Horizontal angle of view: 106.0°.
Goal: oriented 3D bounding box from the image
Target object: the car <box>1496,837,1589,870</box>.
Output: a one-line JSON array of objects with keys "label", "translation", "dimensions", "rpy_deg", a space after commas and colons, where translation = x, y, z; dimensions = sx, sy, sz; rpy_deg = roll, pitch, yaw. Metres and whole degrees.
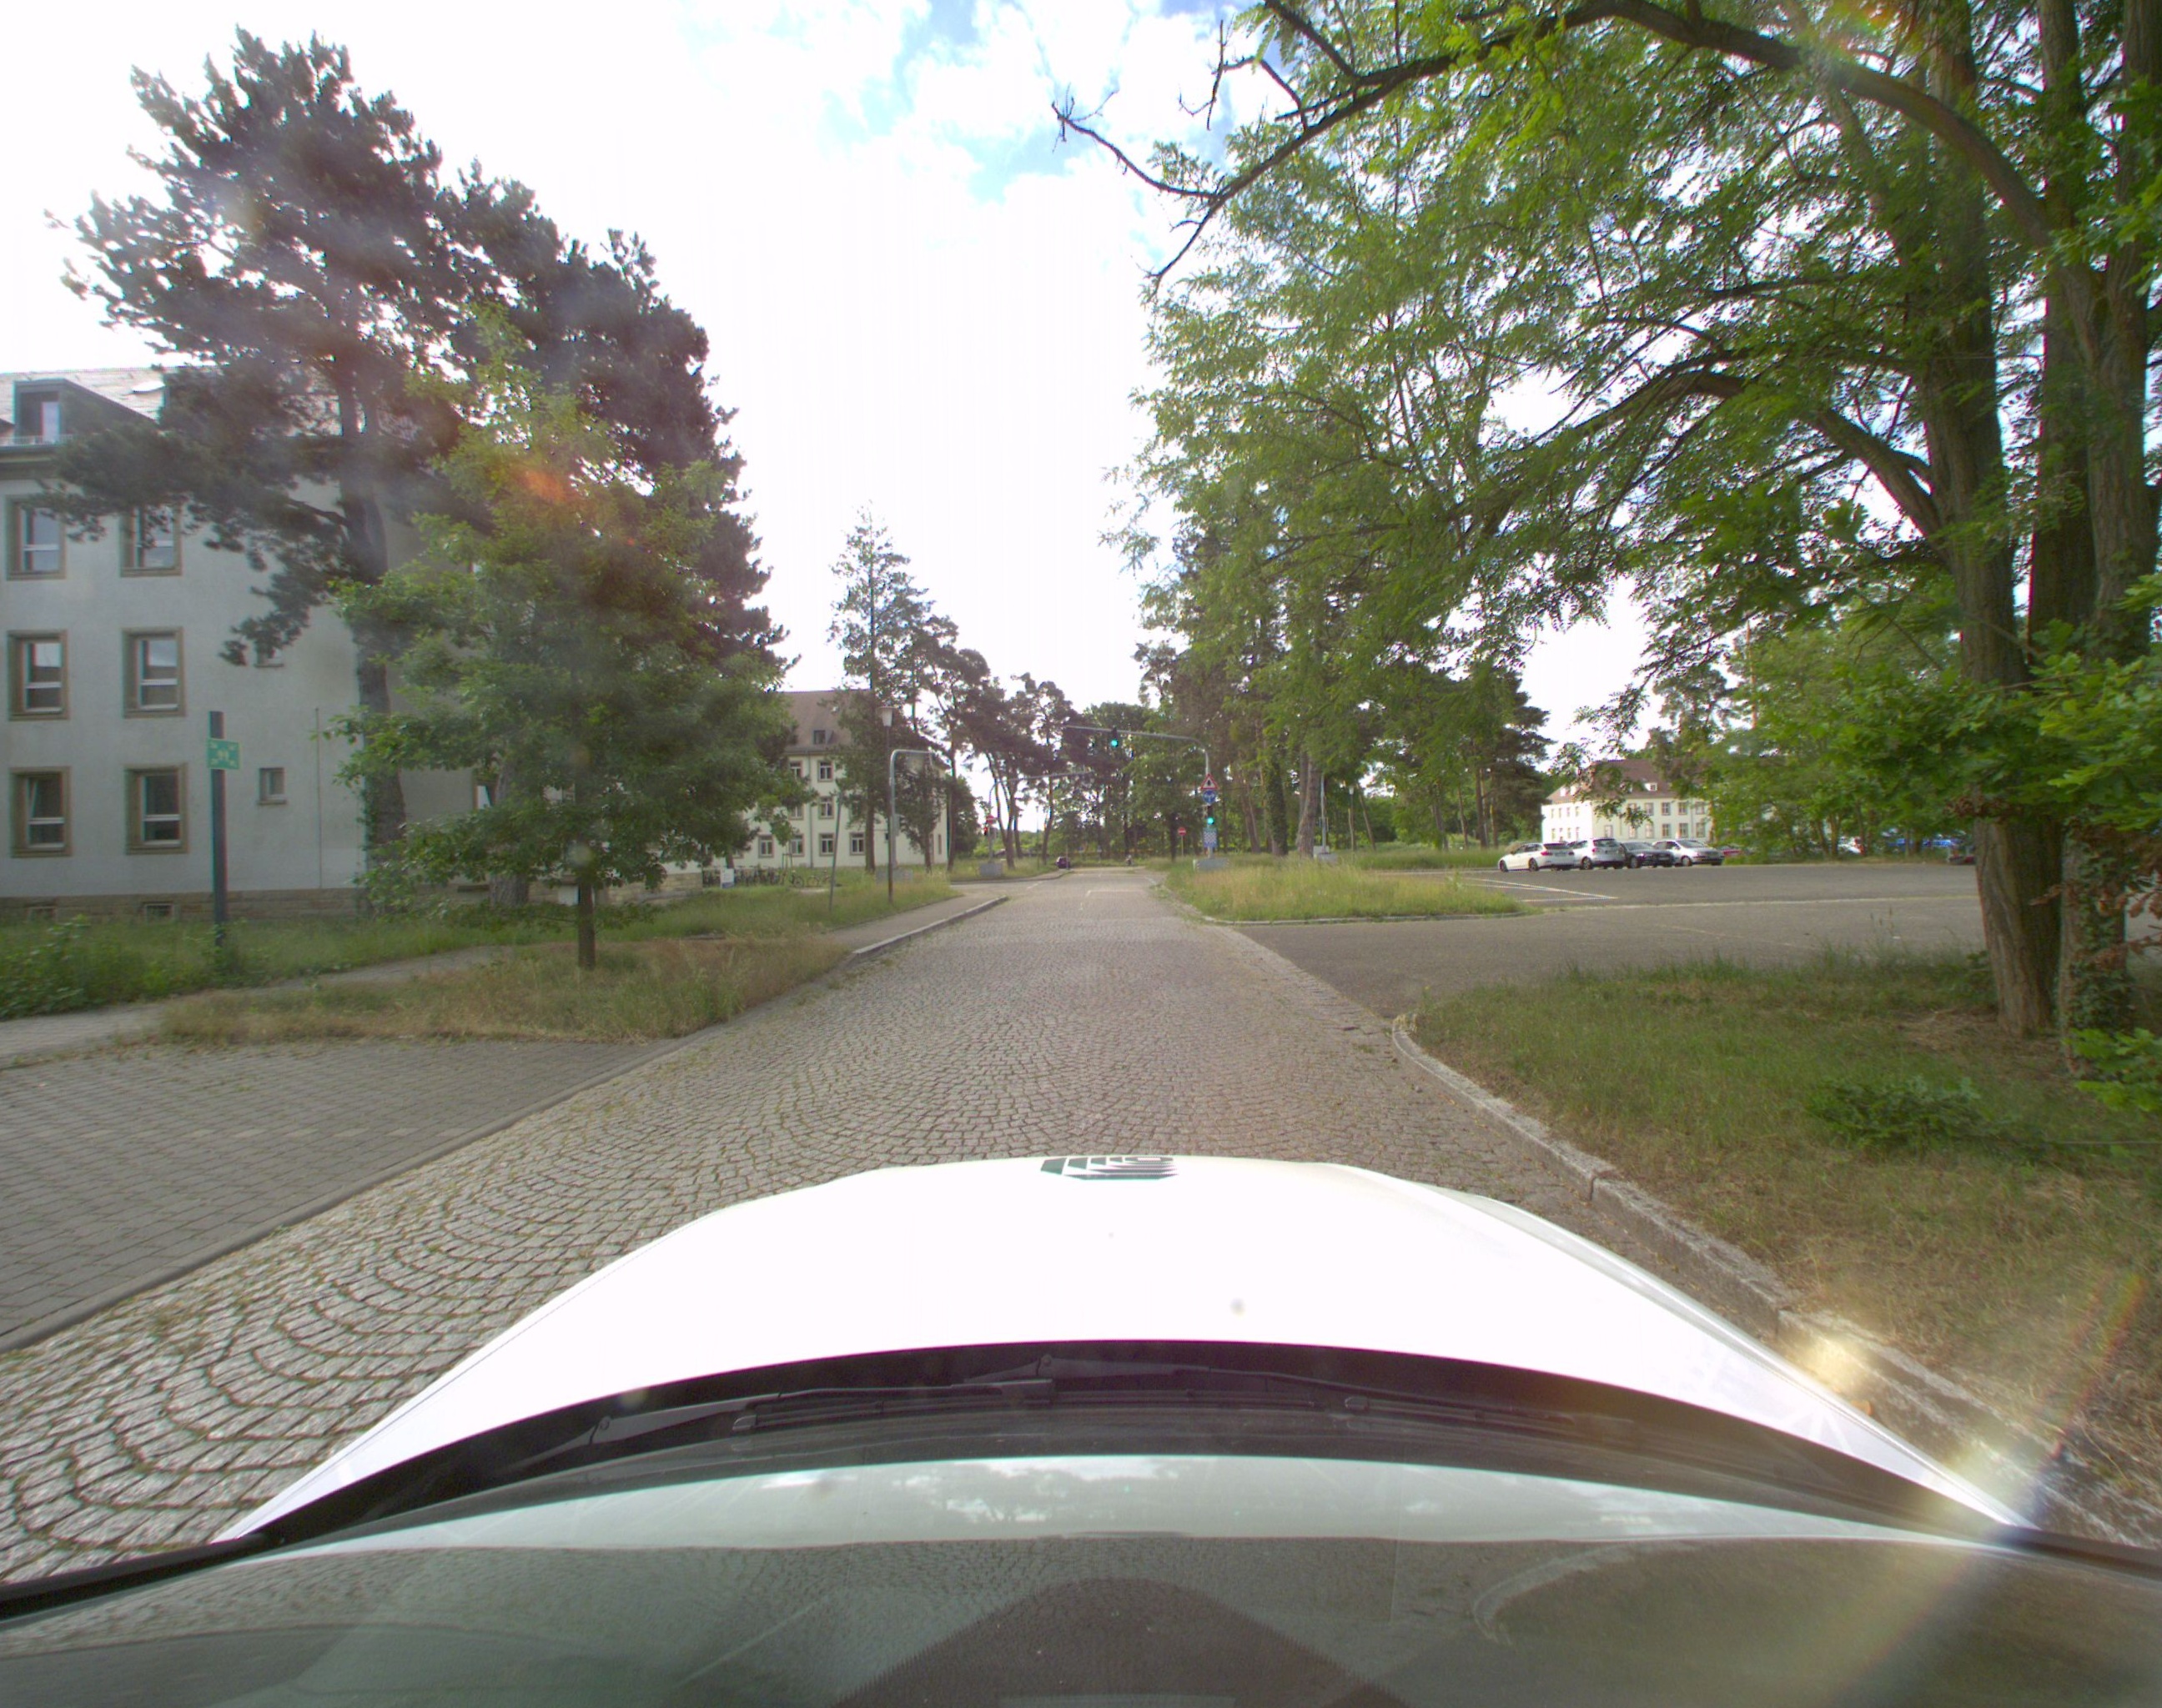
[{"label": "car", "translation": [22.821, 0.013, 40.500], "dimensions": [1.988, 1.481, 4.422], "rpy_deg": [-2, -2, -2]}]

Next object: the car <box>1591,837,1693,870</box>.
[{"label": "car", "translation": [28.006, 0.001, 40.859], "dimensions": [1.988, 1.481, 4.422], "rpy_deg": [-2, -2, -2]}]

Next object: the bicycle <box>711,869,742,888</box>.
[{"label": "bicycle", "translation": [-21.224, 1.437, 48.779], "dimensions": [0.733, 1.076, 2.274], "rpy_deg": [-2, 0, 2]}]

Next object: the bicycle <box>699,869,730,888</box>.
[{"label": "bicycle", "translation": [-21.953, 1.454, 48.867], "dimensions": [0.733, 1.076, 2.274], "rpy_deg": [-2, 0, 2]}]

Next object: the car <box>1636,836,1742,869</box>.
[{"label": "car", "translation": [30.682, -0.024, 41.276], "dimensions": [1.988, 1.523, 4.422], "rpy_deg": [0, -2, -2]}]

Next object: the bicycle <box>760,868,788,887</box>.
[{"label": "bicycle", "translation": [-18.395, 1.398, 48.825], "dimensions": [0.733, 1.076, 2.274], "rpy_deg": [-2, 0, 2]}]

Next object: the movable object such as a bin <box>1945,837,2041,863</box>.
[{"label": "movable object such as a bin", "translation": [31.233, -0.135, 27.951], "dimensions": [1.179, 0.825, 1.957], "rpy_deg": [-2, 0, 6]}]

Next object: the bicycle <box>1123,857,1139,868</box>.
[{"label": "bicycle", "translation": [6.113, 1.021, 99.385], "dimensions": [1.976, 1.320, 0.515], "rpy_deg": [0, -1, -20]}]

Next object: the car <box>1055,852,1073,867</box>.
[{"label": "car", "translation": [-2.152, 0.745, 104.624], "dimensions": [2.048, 1.846, 4.001], "rpy_deg": [-2, 0, 1]}]

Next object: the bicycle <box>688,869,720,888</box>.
[{"label": "bicycle", "translation": [-22.658, 1.464, 48.960], "dimensions": [0.733, 1.076, 2.274], "rpy_deg": [-2, 0, 2]}]

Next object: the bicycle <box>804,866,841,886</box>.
[{"label": "bicycle", "translation": [-15.071, 1.260, 47.539], "dimensions": [1.848, 1.076, 0.832], "rpy_deg": [-2, 0, 3]}]

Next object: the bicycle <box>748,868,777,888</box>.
[{"label": "bicycle", "translation": [-19.037, 1.421, 48.759], "dimensions": [0.733, 1.076, 2.274], "rpy_deg": [-2, 0, 2]}]

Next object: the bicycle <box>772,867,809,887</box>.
[{"label": "bicycle", "translation": [-16.953, 1.347, 47.541], "dimensions": [1.848, 1.076, 0.739], "rpy_deg": [-2, 0, 3]}]

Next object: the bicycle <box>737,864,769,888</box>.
[{"label": "bicycle", "translation": [-19.771, 1.294, 49.131], "dimensions": [0.733, 1.385, 2.713], "rpy_deg": [-2, 0, 2]}]

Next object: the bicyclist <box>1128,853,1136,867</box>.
[{"label": "bicyclist", "translation": [6.231, 0.705, 99.409], "dimensions": [0.751, 1.671, 0.522], "rpy_deg": [0, -1, -21]}]

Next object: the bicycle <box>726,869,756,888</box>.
[{"label": "bicycle", "translation": [-20.563, 1.447, 49.258], "dimensions": [0.733, 1.076, 2.274], "rpy_deg": [-2, 0, 2]}]

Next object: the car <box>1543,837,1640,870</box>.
[{"label": "car", "translation": [25.336, 0.006, 40.624], "dimensions": [1.988, 1.481, 4.422], "rpy_deg": [-2, -2, -2]}]
